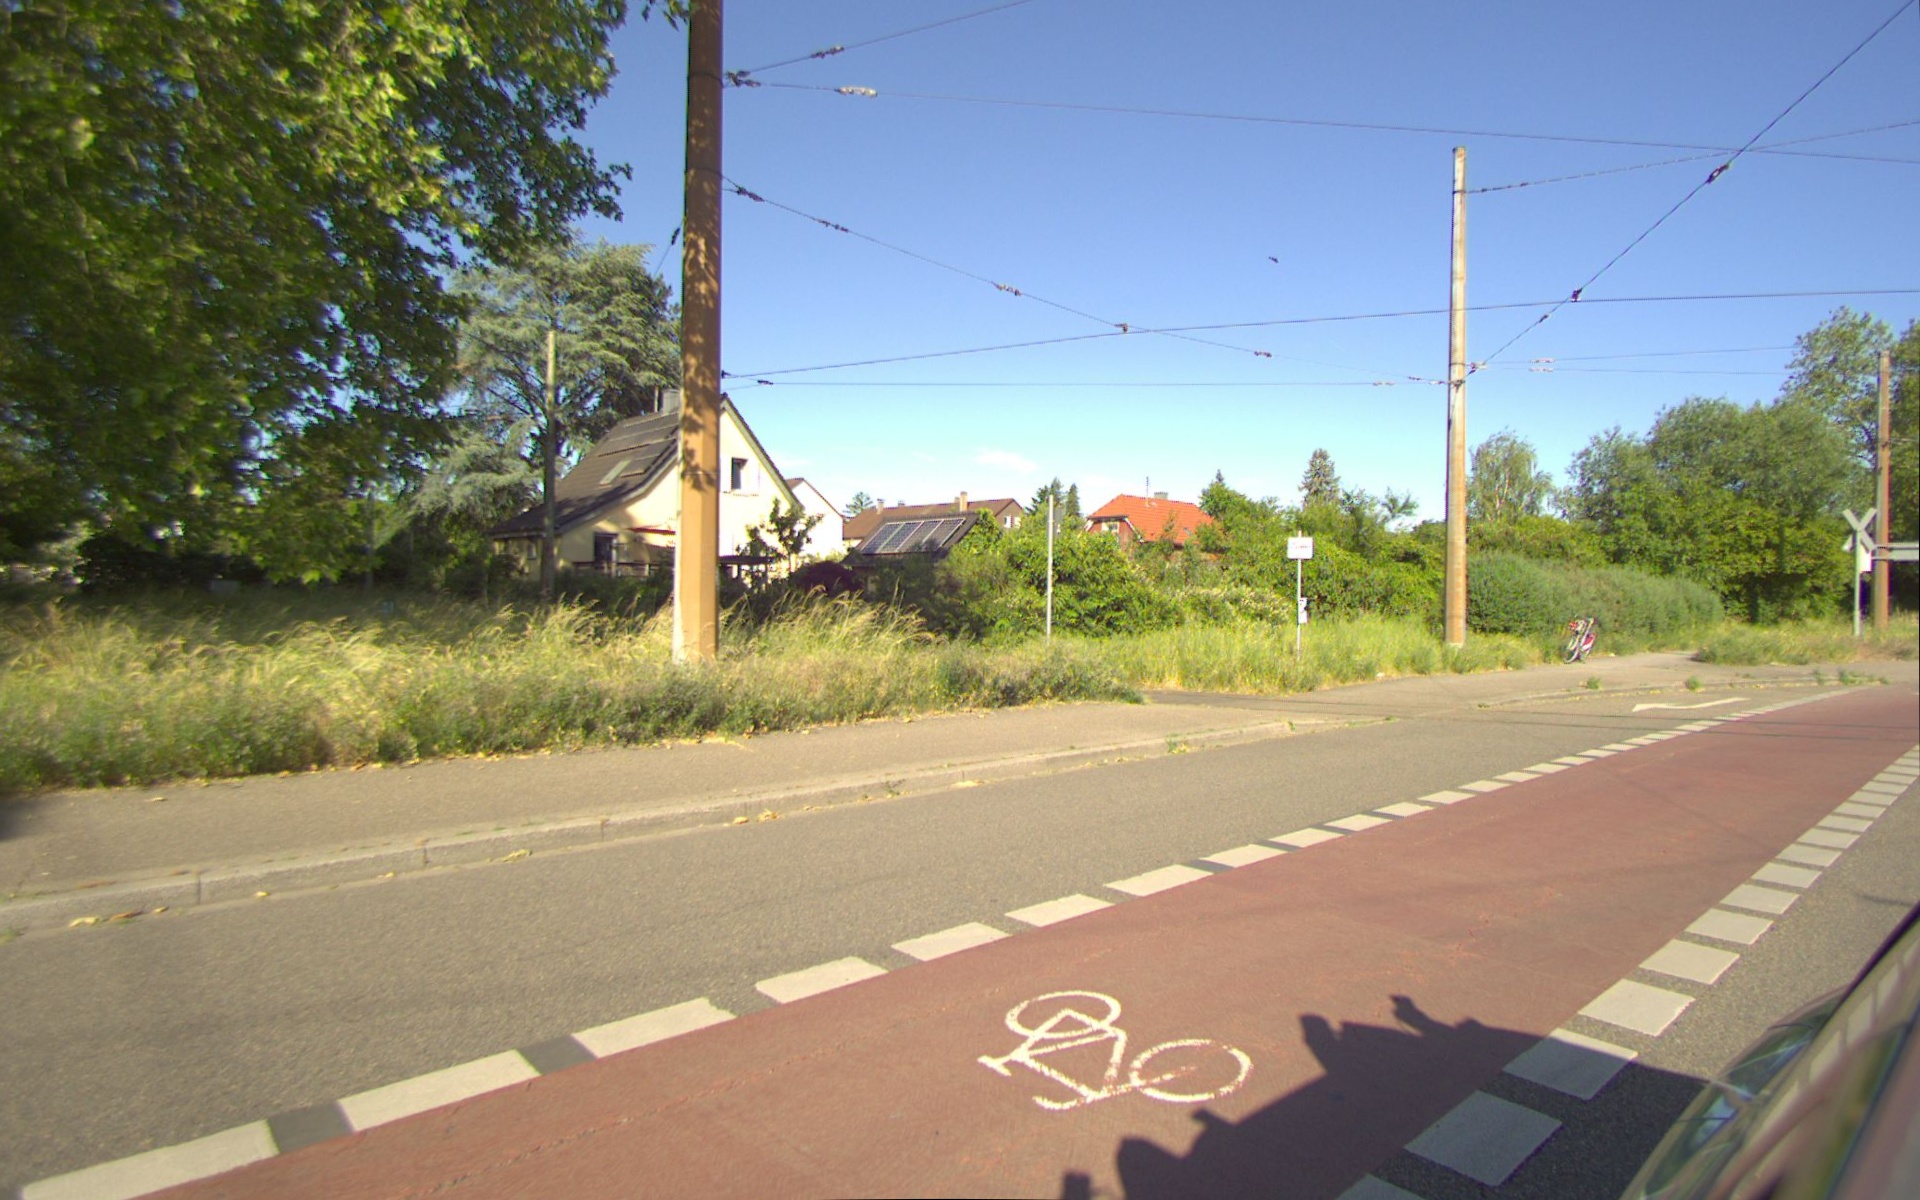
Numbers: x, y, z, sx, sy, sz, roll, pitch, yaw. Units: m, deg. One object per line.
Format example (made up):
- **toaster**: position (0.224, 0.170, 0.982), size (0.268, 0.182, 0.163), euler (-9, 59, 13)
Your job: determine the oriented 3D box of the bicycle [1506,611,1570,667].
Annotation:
- **bicycle**: position (12.322, 0.811, 21.542), size (2.056, 1.149, 0.366), euler (1, 0, -36)
